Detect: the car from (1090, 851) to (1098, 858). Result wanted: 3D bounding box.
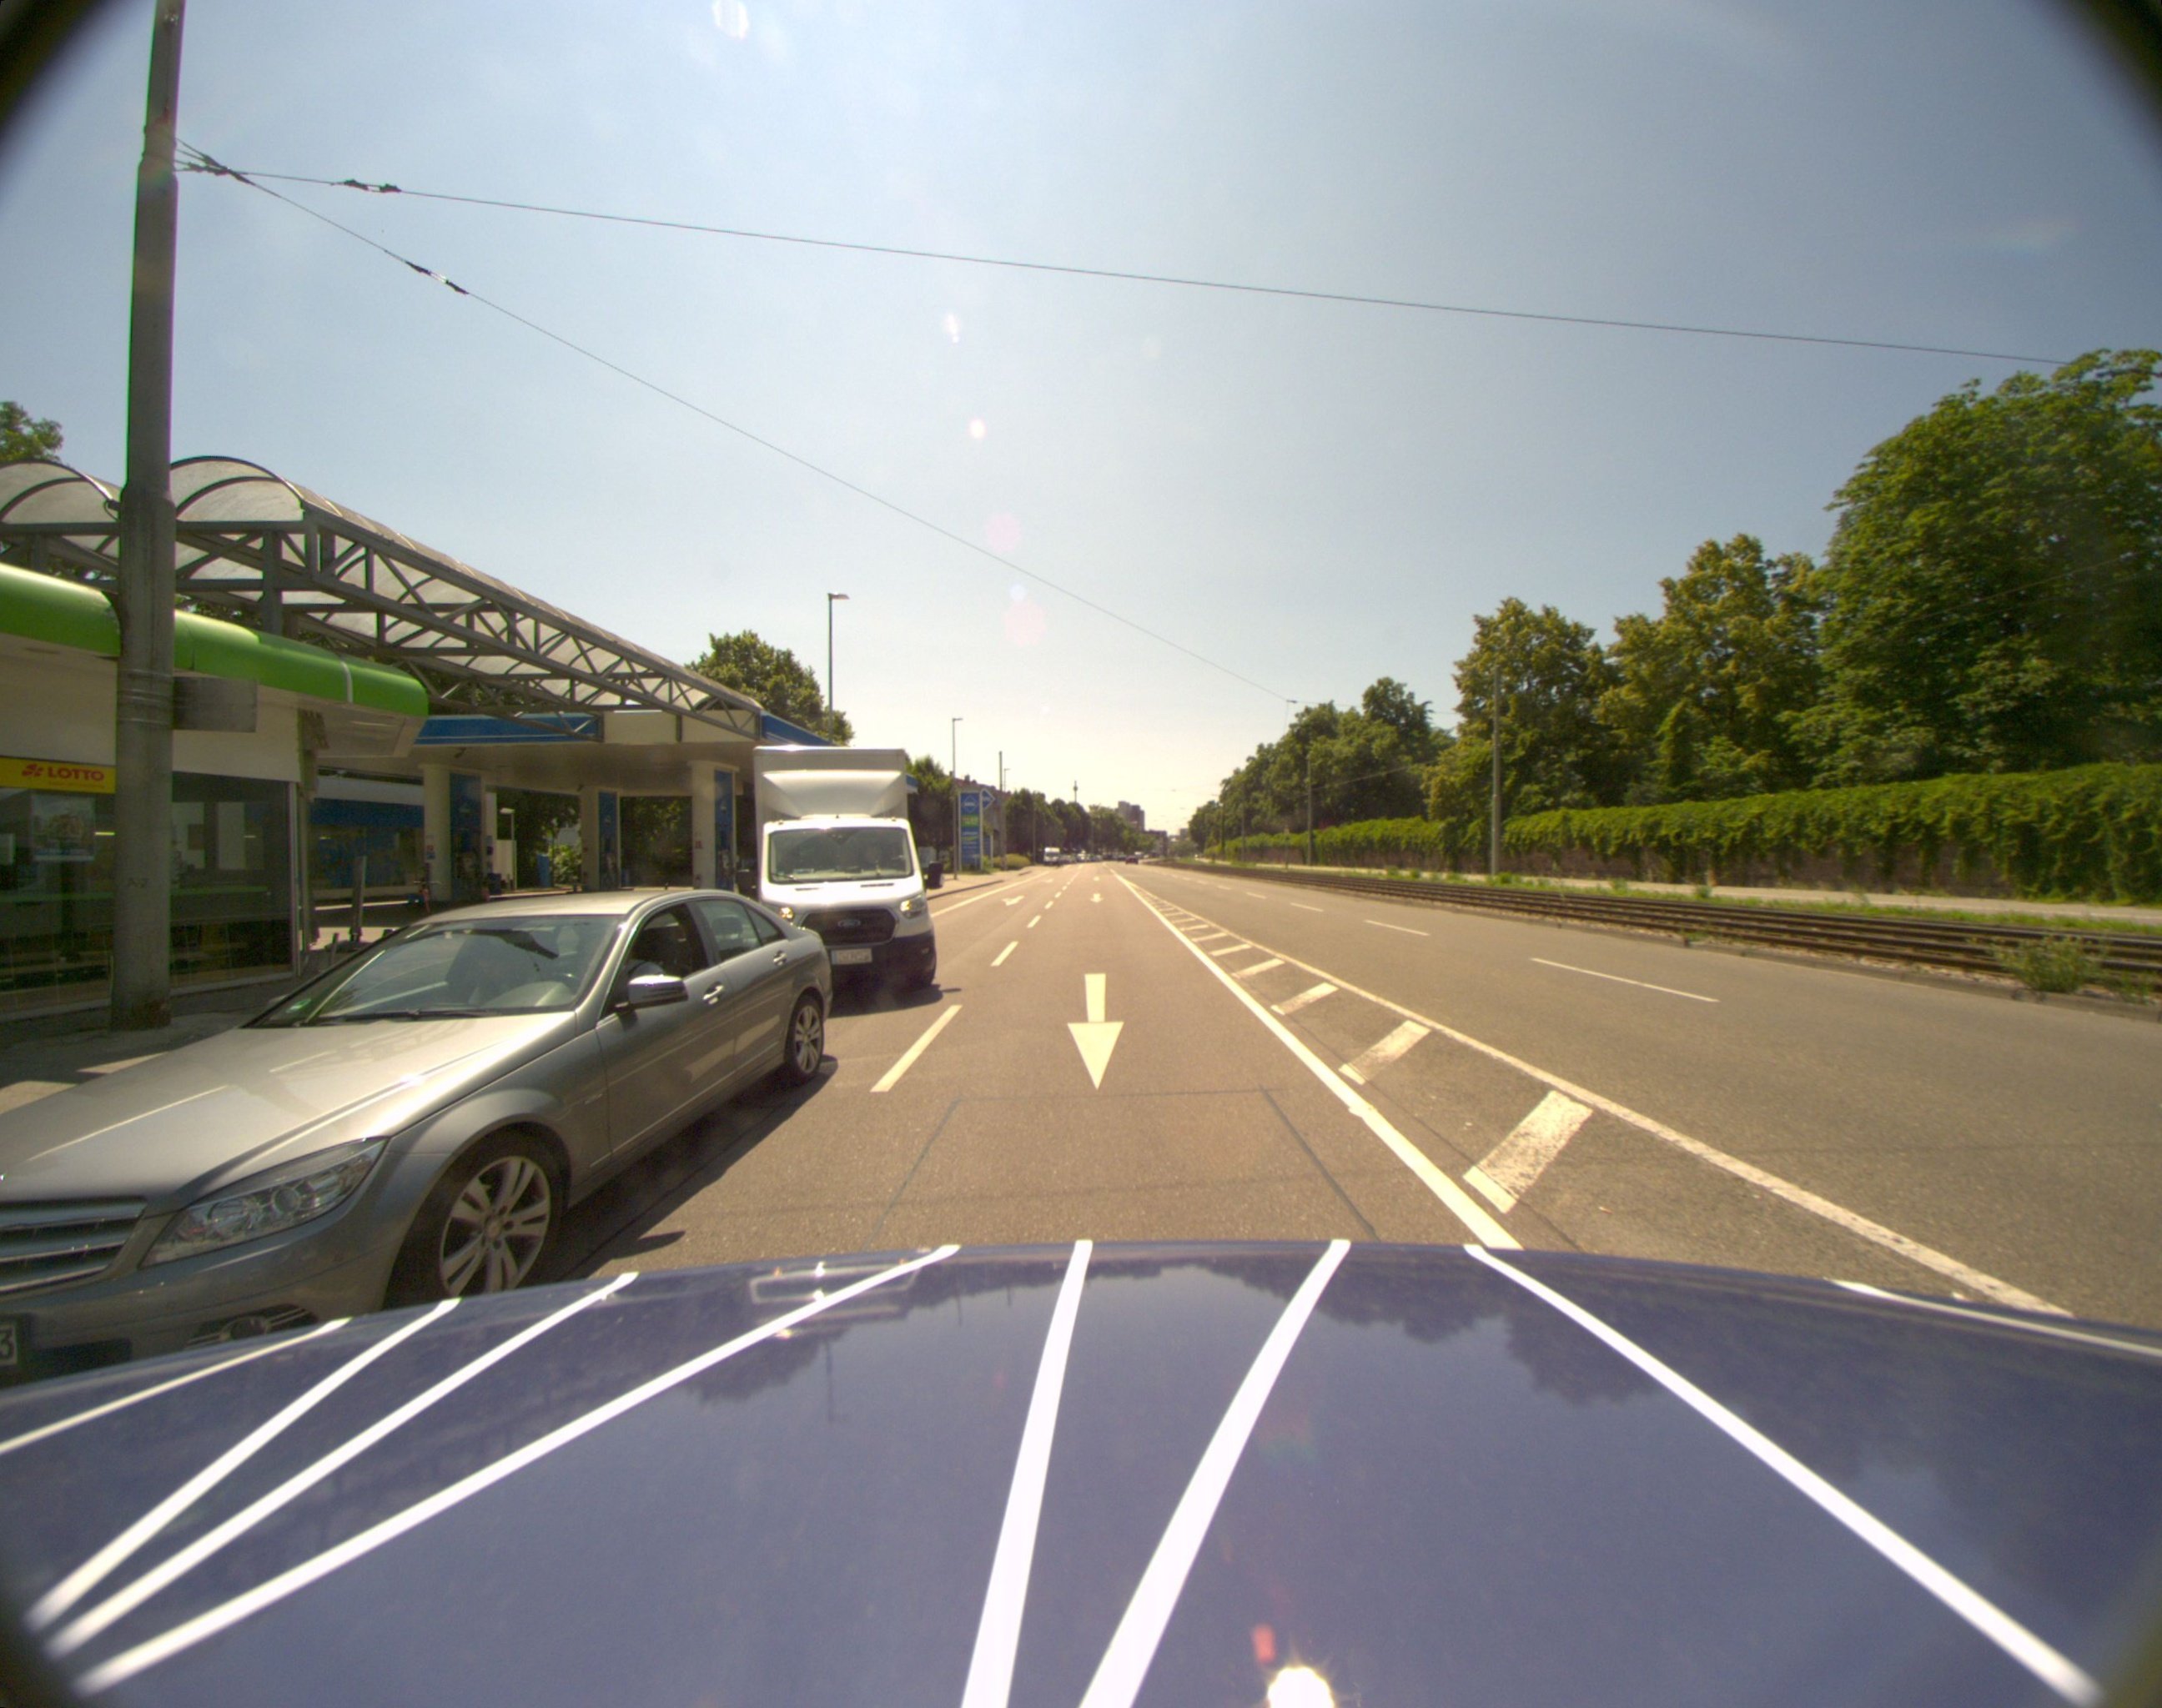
[{"bbox_3d":[2.889,0.175,170.569,1.806,1.585,4.000,-1,0,1],"label":"car"}]

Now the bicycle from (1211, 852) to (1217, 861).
[{"bbox_3d":[19.568,0.365,111.676,0.830,1.149,2.687,-1,0,8],"label":"bicycle"}]

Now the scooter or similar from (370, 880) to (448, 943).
[{"bbox_3d":[-12.844,1.094,14.525,1.138,1.170,0.384,-1,1,2],"label":"scooter or similar"}]

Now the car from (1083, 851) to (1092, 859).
[{"bbox_3d":[1.340,0.163,162.463,1.907,1.707,4.000,-1,0,1],"label":"car"}]

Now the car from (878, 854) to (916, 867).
[{"bbox_3d":[-23.282,0.828,96.342,4.221,1.512,2.001,-1,0,9],"label":"car"}]

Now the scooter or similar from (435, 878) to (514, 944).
[{"bbox_3d":[-11.594,1.082,14.536,1.176,1.233,0.412,-1,1,2],"label":"scooter or similar"}]

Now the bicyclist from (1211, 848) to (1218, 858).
[{"bbox_3d":[19.558,-0.174,111.615,0.996,1.477,1.001,-1,1,8],"label":"bicyclist"}]

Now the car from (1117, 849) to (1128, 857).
[{"bbox_3d":[8.204,-0.150,149.796,1.998,1.608,4.000,-1,0,1],"label":"car"}]

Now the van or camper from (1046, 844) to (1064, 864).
[{"bbox_3d":[-3.509,-0.030,101.816,2.126,2.469,5.993,2,0,0],"label":"van or camper"}]

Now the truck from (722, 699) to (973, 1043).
[{"bbox_3d":[-3.788,0.161,11.519,2.430,3.372,7.818,-1,0,-22],"label":"truck"}]

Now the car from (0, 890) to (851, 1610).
[{"bbox_3d":[-2.855,1.035,3.983,1.800,1.441,4.418,-1,0,2],"label":"car"}]

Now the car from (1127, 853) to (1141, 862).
[{"bbox_3d":[8.090,0.491,116.802,1.989,1.350,4.538,-1,0,2],"label":"car"}]

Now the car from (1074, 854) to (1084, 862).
[{"bbox_3d":[-0.461,0.750,150.592,1.725,1.586,4.001,-1,0,4],"label":"car"}]
